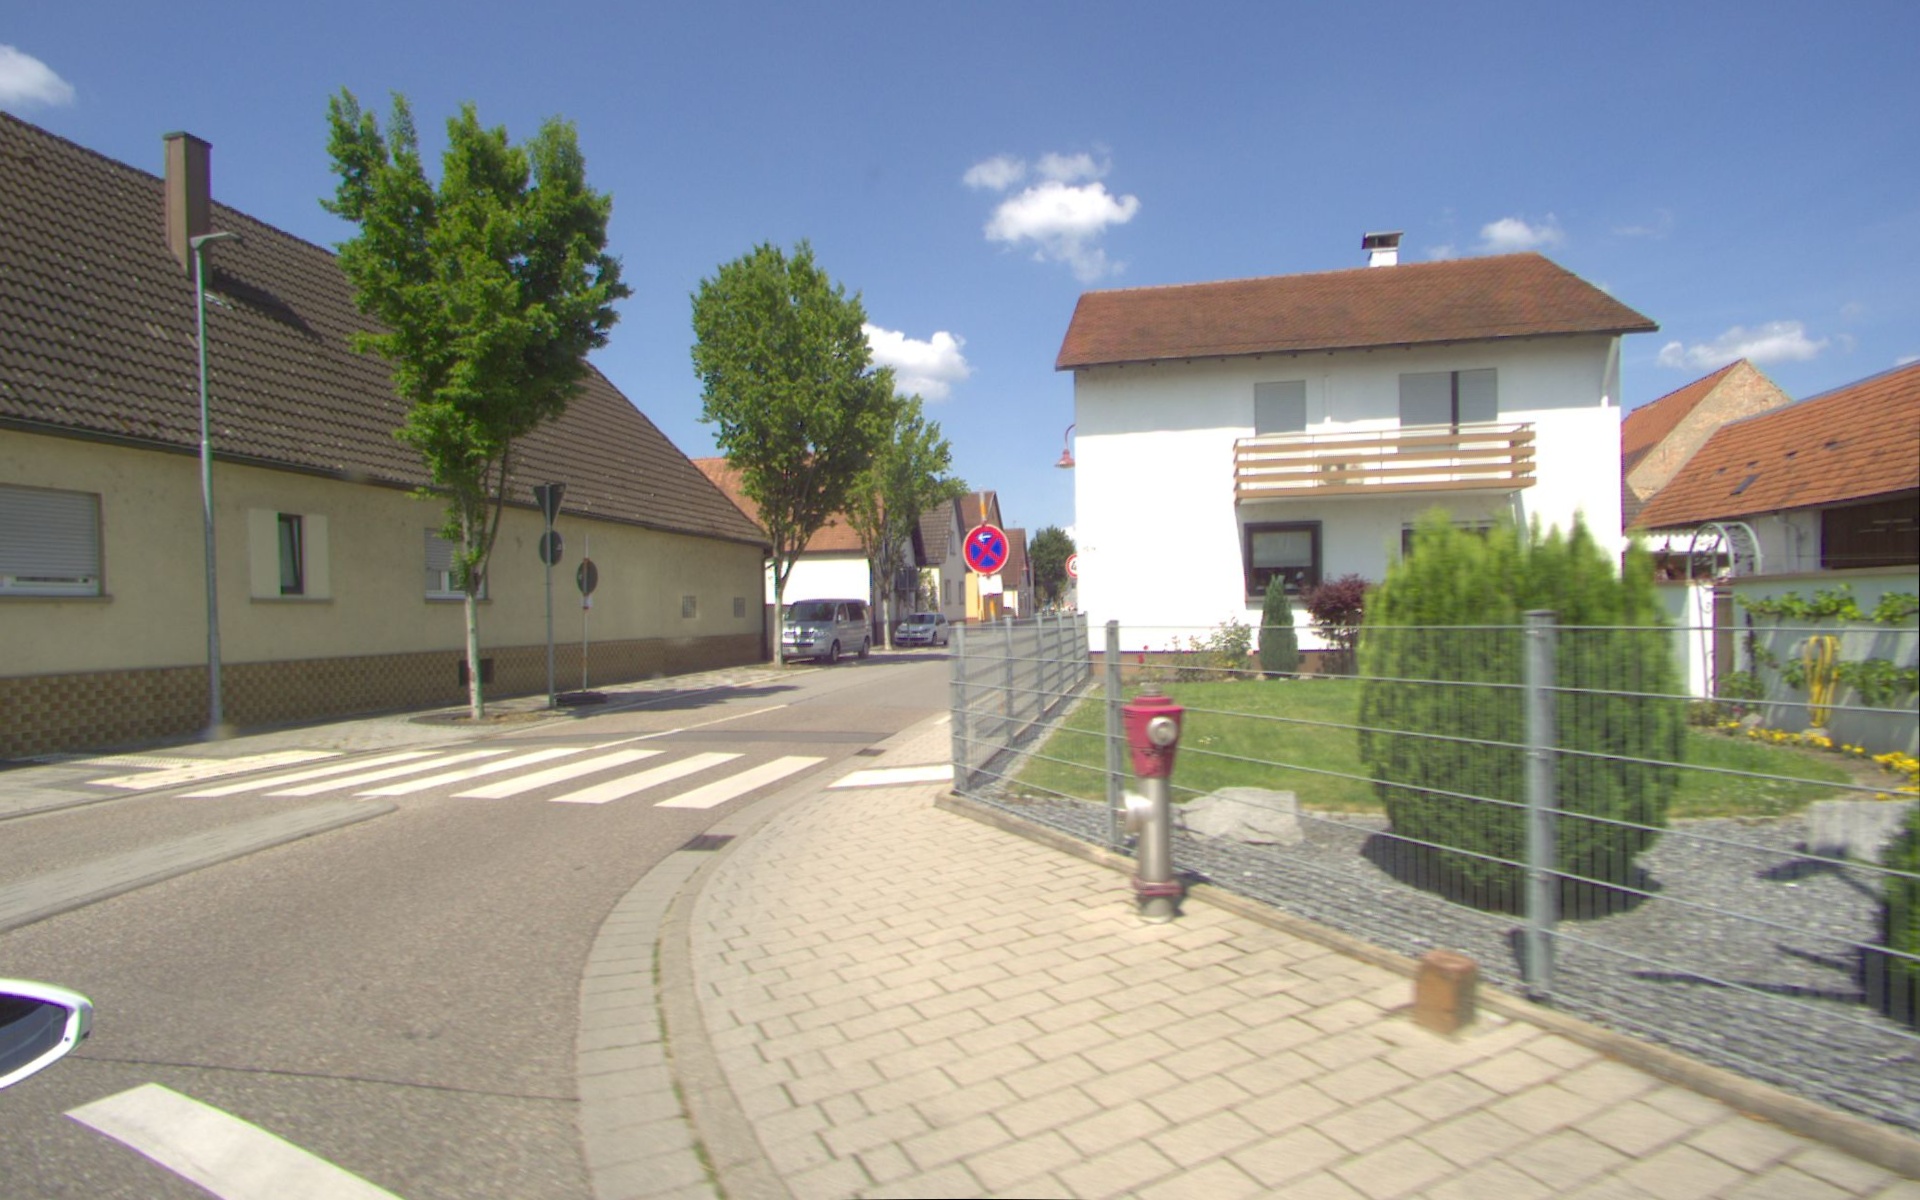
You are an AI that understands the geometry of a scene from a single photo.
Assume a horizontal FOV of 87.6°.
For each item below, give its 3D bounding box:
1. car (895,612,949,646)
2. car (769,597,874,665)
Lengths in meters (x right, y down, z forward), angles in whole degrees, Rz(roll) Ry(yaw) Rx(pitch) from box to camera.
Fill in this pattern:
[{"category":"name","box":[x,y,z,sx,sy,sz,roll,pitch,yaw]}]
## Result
[{"category":"car","box":[-1.650,1.254,44.310,1.655,1.399,3.558,0,0,11]},{"category":"car","box":[-4.263,0.927,31.522,1.962,1.964,4.476,0,0,11]}]
